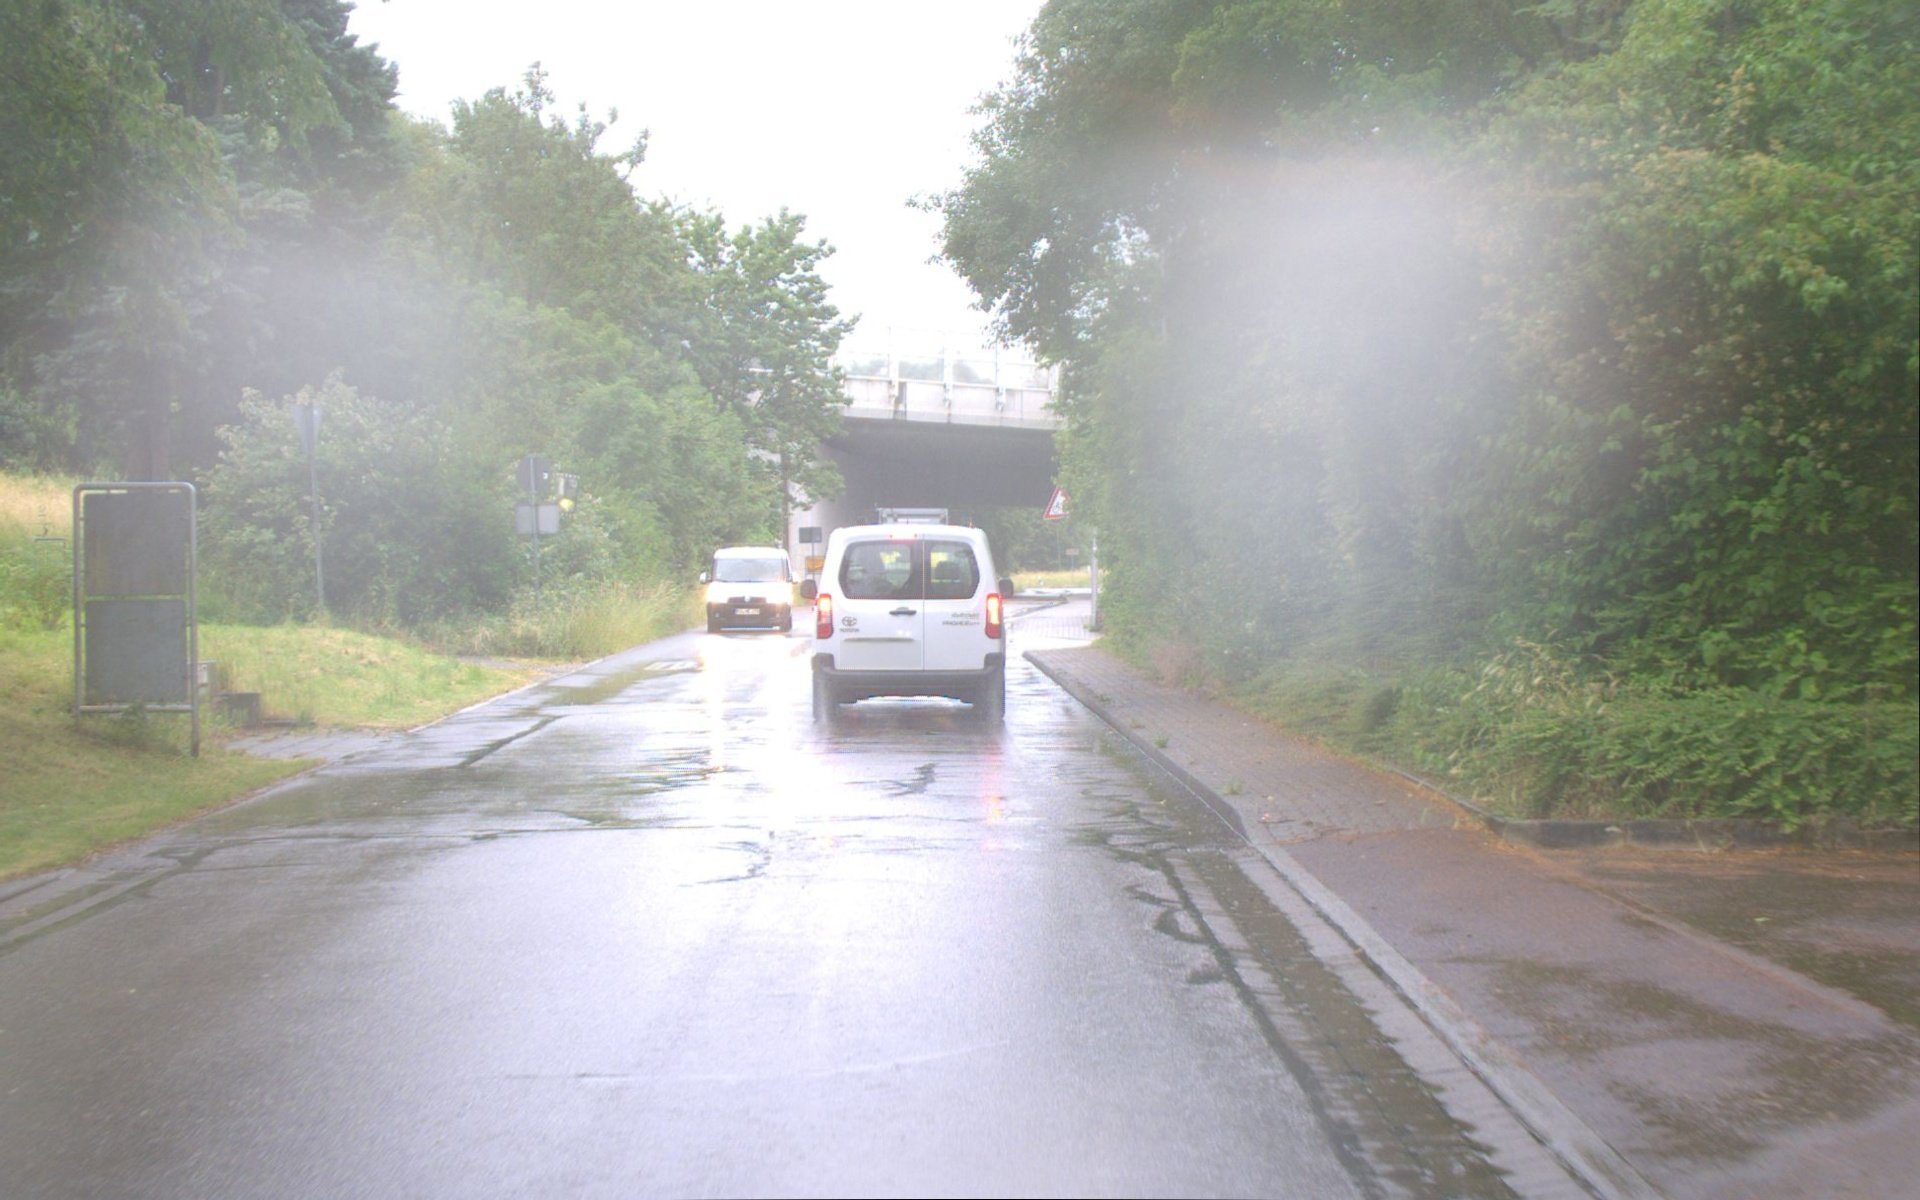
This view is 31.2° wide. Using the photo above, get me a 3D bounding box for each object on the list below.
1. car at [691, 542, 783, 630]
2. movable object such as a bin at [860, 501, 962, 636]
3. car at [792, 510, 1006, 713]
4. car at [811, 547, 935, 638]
[{"bbox_3d":[-4.738,-0.304,73.520,1.823,1.825,4.307,0,0,-2],"label":"car"},{"bbox_3d":[-0.926,-0.609,67.358,1.761,2.539,4.239,1,0,2],"label":"movable object such as a bin"},{"bbox_3d":[-0.550,0.062,32.978,1.896,1.801,4.000,-1,1,0],"label":"car"},{"bbox_3d":[-1.351,-0.120,54.581,1.708,1.373,4.000,1,0,2],"label":"car"}]
